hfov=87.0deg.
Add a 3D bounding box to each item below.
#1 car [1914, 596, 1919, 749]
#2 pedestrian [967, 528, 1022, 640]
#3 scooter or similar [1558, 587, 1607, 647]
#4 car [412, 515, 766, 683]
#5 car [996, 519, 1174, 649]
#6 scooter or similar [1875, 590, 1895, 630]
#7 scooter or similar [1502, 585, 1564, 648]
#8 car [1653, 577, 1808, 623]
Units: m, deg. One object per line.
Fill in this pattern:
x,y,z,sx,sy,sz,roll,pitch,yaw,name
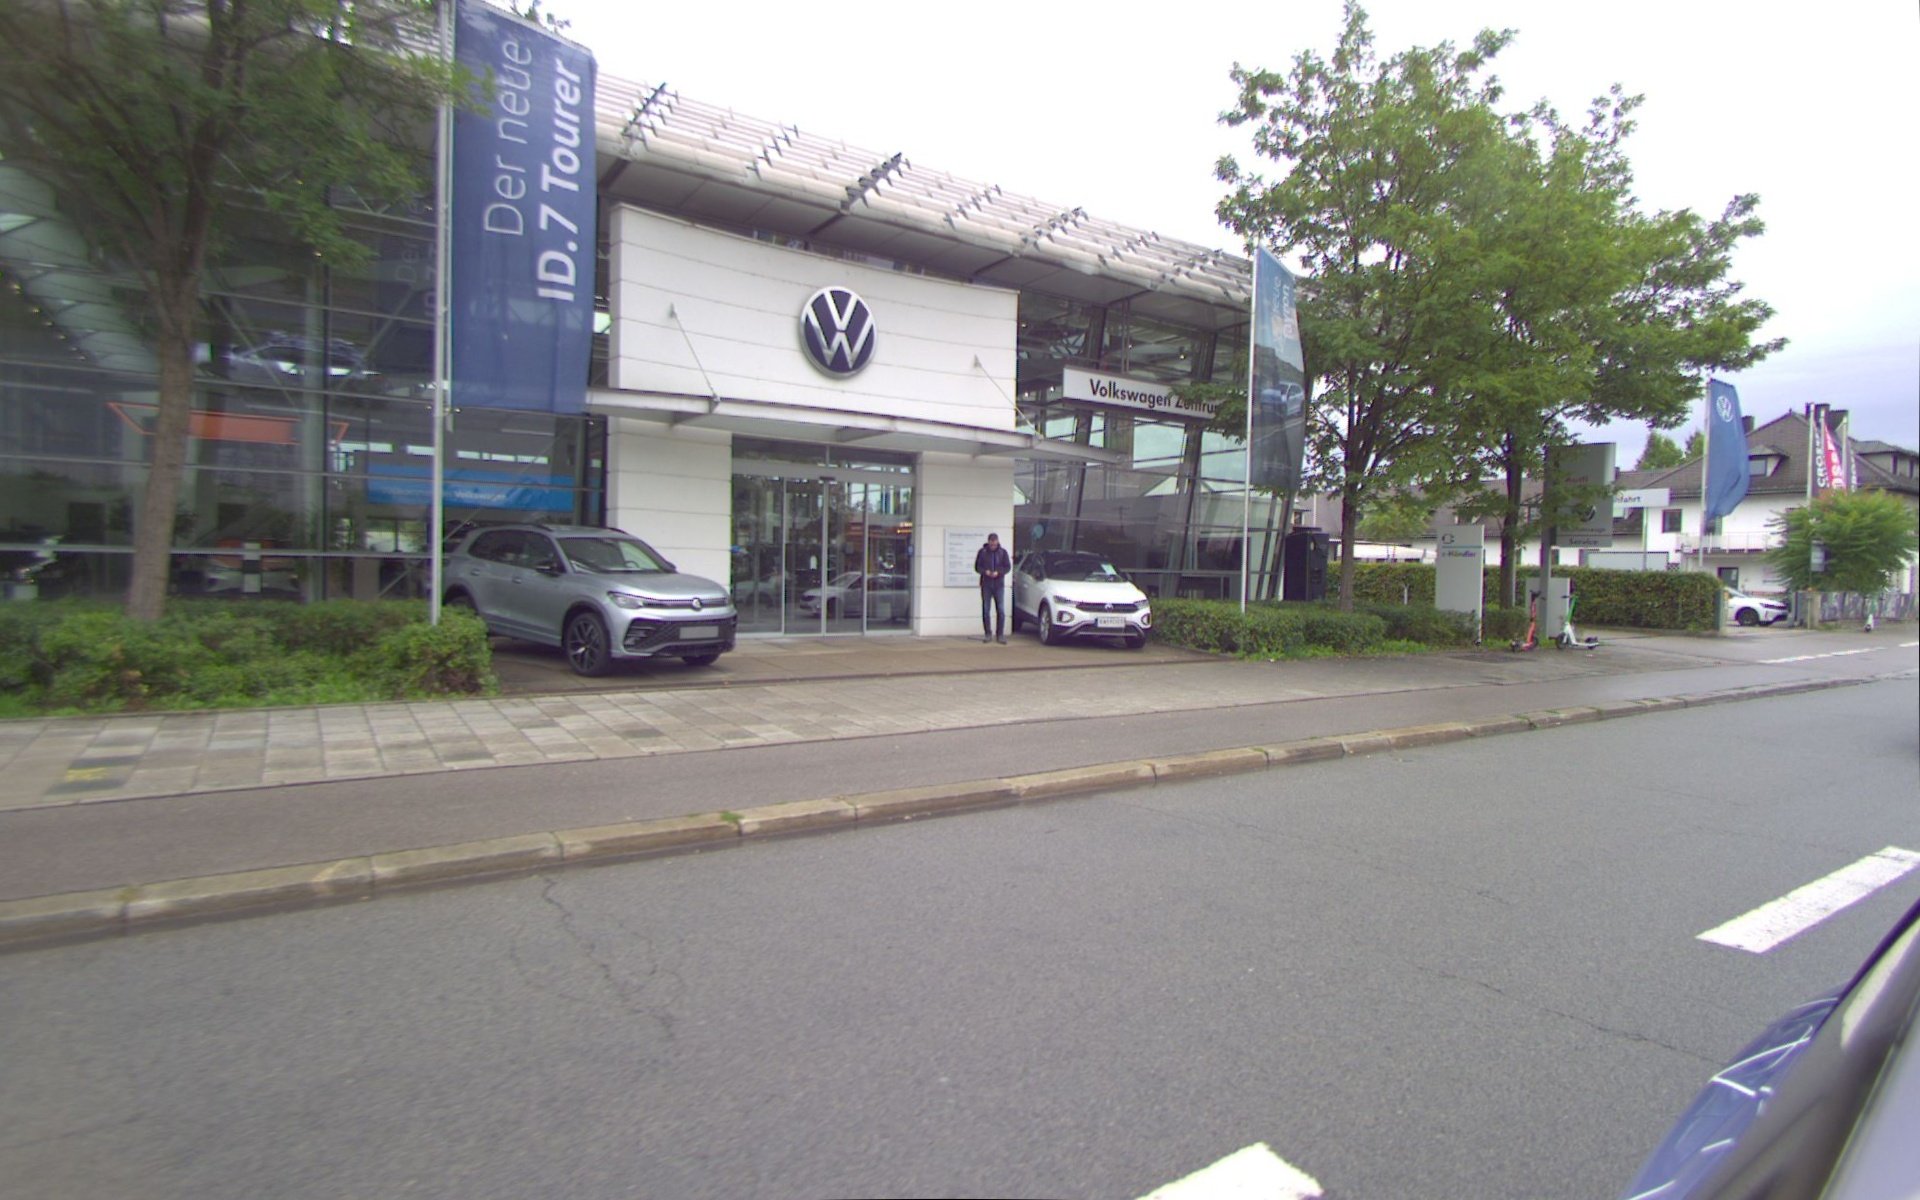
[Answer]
11.492,0.668,10.236,4.471,1.466,1.915,-1,0,-36,car
0.575,-0.277,16.774,0.794,1.798,0.714,1,1,11,pedestrian
13.472,0.352,21.900,1.406,1.219,0.496,-2,5,-44,scooter or similar
-4.780,-0.160,12.784,4.576,1.727,1.983,4,5,35,car
2.069,-0.397,18.143,1.922,2.037,4.272,1,4,-10,car
30.609,0.309,33.500,0.397,1.237,1.615,5,5,42,scooter or similar
11.668,0.333,20.604,1.403,1.219,0.497,1,4,-38,scooter or similar
27.262,-0.039,35.931,1.759,1.478,4.029,0,2,-34,car
